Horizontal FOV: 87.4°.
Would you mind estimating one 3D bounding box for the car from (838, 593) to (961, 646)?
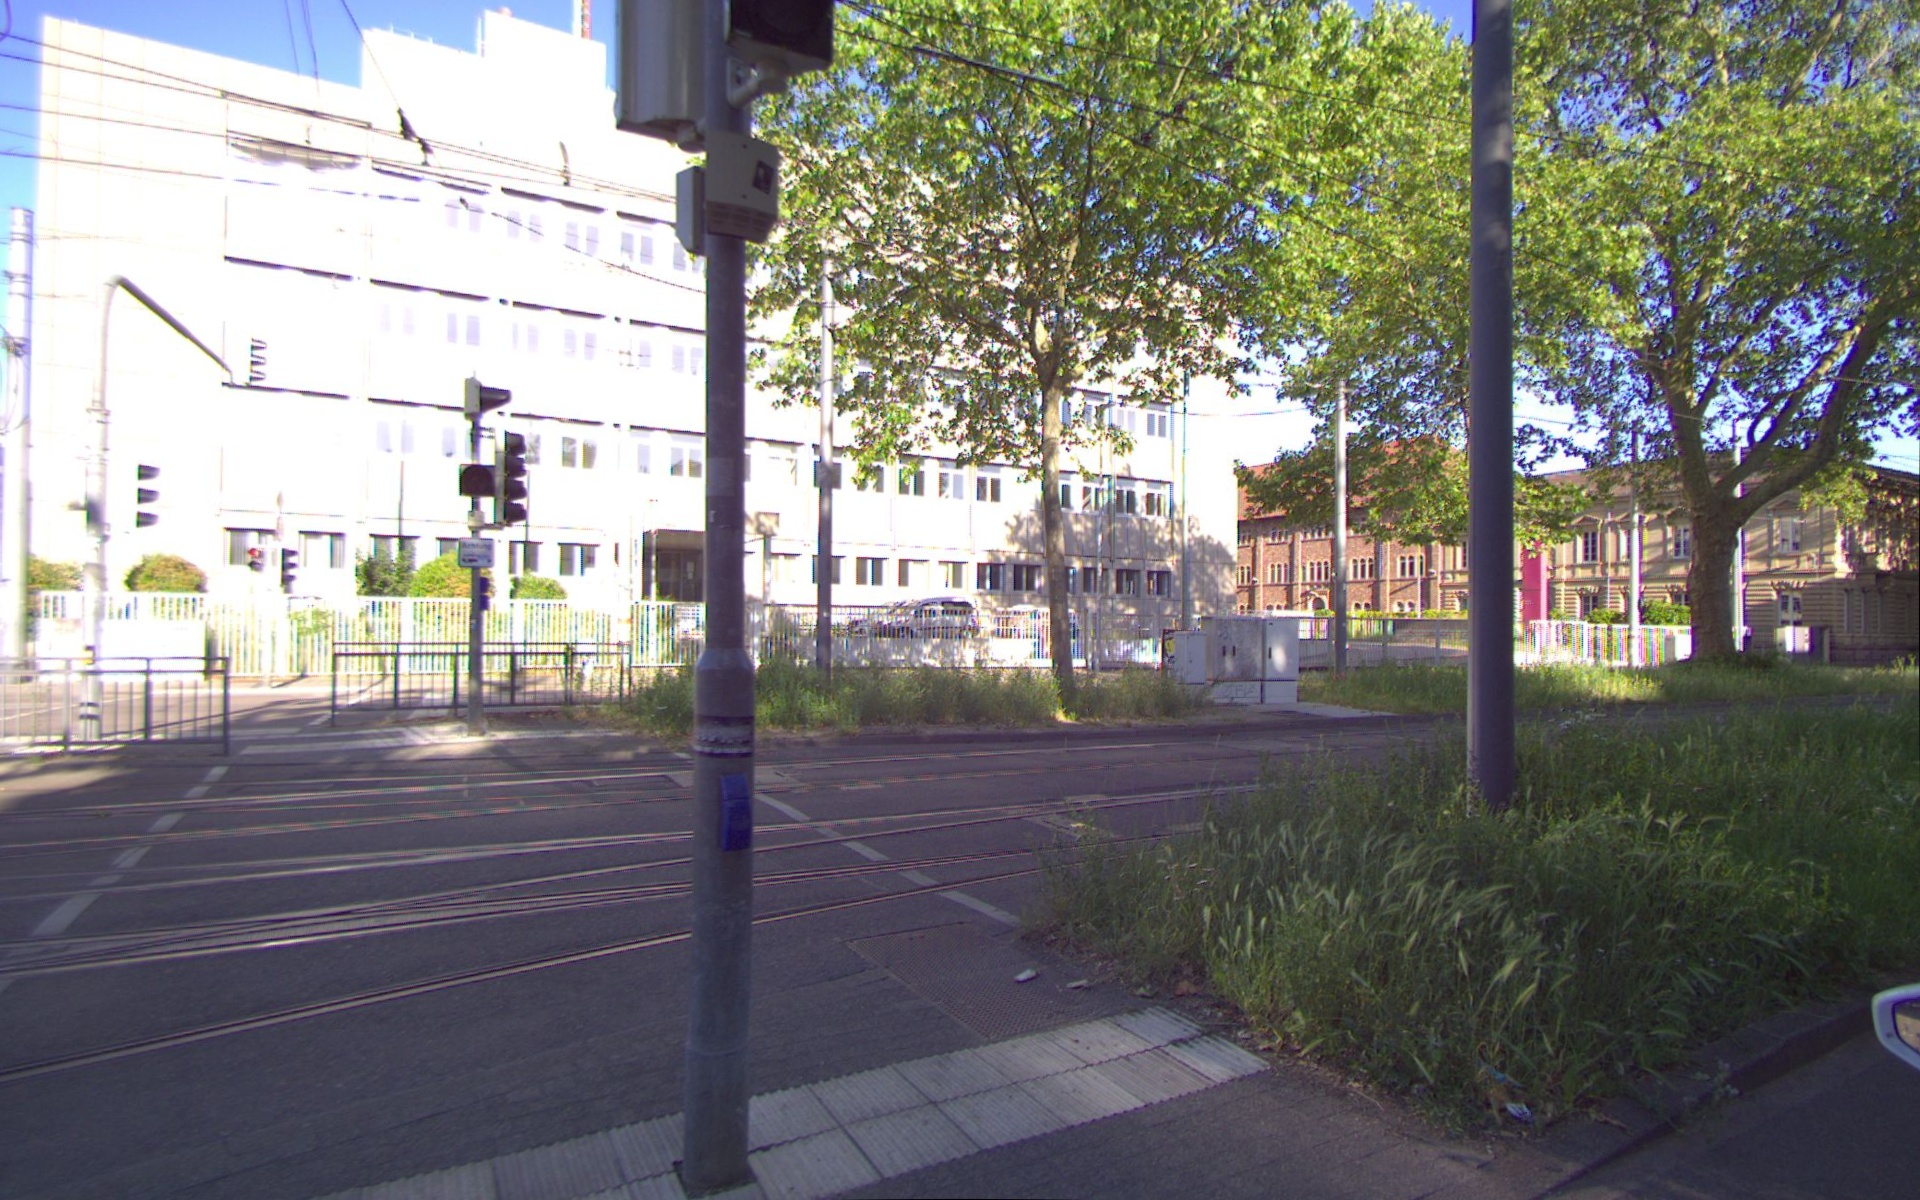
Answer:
[{"bbox_3d":[-2.473,0.831,41.149,4.660,2.040,1.988,1,-2,-25],"label":"car"}]

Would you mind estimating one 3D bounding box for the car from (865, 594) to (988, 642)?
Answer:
[{"bbox_3d":[-1.276,0.730,38.347,4.317,1.726,1.988,1,-2,-25],"label":"car"}]

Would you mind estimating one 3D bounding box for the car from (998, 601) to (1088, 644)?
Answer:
[{"bbox_3d":[4.089,1.158,50.415,1.980,2.040,4.709,2,-2,-35],"label":"car"}]
